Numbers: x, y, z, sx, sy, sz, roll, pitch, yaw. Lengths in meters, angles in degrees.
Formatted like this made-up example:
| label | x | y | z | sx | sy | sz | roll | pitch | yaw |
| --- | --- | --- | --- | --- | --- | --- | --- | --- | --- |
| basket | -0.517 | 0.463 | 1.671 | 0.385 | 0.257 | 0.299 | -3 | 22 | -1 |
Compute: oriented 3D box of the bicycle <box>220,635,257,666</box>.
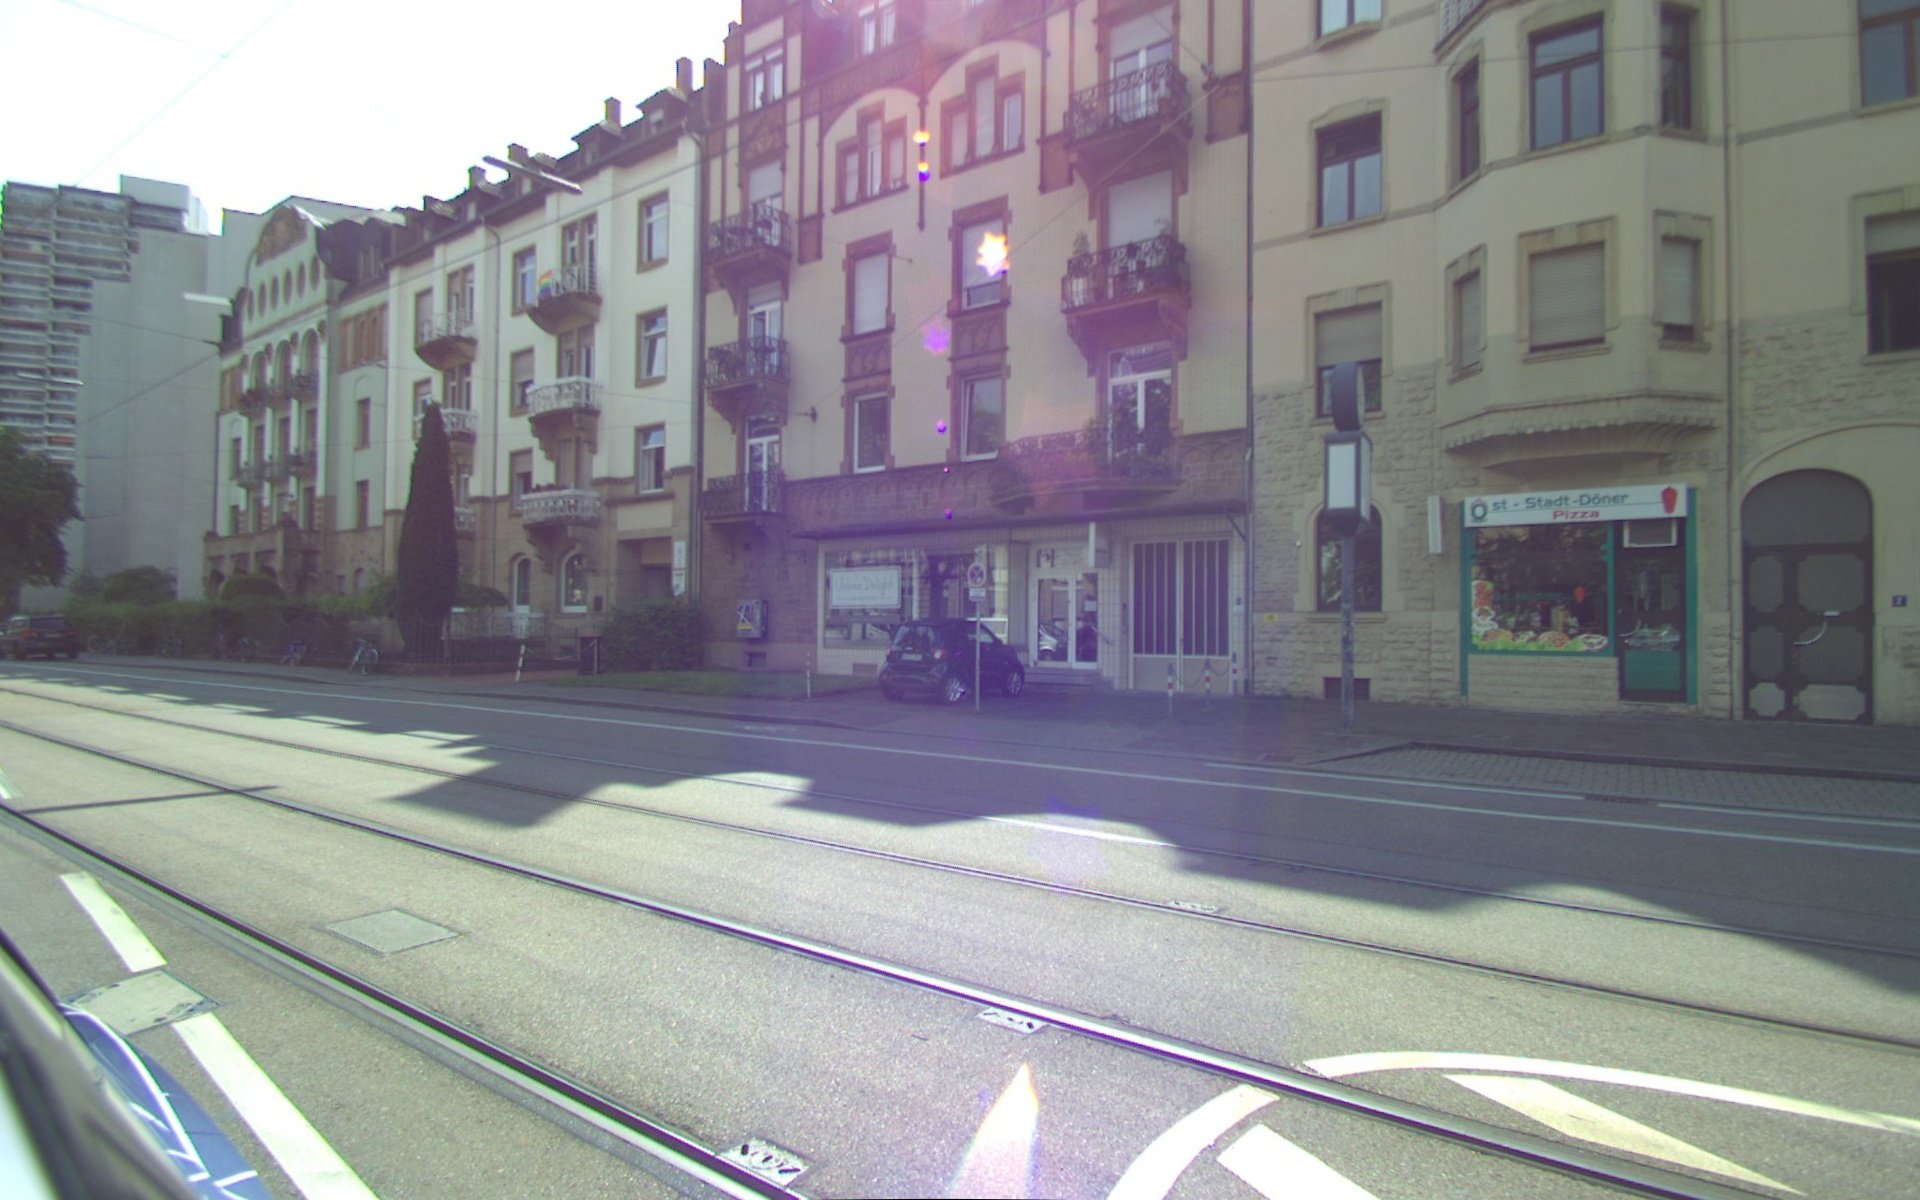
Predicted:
| label | x | y | z | sx | sy | sz | roll | pitch | yaw |
| --- | --- | --- | --- | --- | --- | --- | --- | --- | --- |
| bicycle | -24.214 | 1.675 | 33.937 | 1.872 | 0.993 | 0.579 | 0 | -2 | 42 |

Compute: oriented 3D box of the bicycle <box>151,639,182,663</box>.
| label | x | y | z | sx | sy | sz | roll | pitch | yaw |
| --- | --- | --- | --- | --- | --- | --- | --- | --- | --- |
| bicycle | -29.321 | 1.872 | 37.392 | 1.872 | 0.803 | 0.579 | 0 | 1 | 42 |

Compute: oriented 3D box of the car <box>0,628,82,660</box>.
| label | x | y | z | sx | sy | sz | roll | pitch | yaw |
| --- | --- | --- | --- | --- | --- | --- | --- | --- | --- |
| car | -47.215 | 2.218 | 51.279 | 1.633 | 1.547 | 3.842 | -1 | -3 | 38 |

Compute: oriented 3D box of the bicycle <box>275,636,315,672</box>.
| label | x | y | z | sx | sy | sz | roll | pitch | yaw |
| --- | --- | --- | --- | --- | --- | --- | --- | --- | --- |
| bicycle | -20.555 | 1.640 | 31.260 | 1.872 | 1.037 | 0.532 | 0 | -2 | 42 |

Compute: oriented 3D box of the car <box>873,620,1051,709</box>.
| label | x | y | z | sx | sy | sz | roll | pitch | yaw |
| --- | --- | --- | --- | --- | --- | --- | --- | --- | --- |
| car | 0.111 | 1.177 | 19.673 | 1.704 | 1.497 | 3.411 | -1 | 0 | 38 |

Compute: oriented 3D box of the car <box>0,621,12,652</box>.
| label | x | y | z | sx | sy | sz | roll | pitch | yaw |
| --- | --- | --- | --- | --- | --- | --- | --- | --- | --- |
| car | -60.119 | 2.194 | 61.131 | 1.829 | 1.940 | 3.947 | -1 | -3 | 39 |

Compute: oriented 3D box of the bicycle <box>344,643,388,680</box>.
| label | x | y | z | sx | sy | sz | roll | pitch | yaw |
| --- | --- | --- | --- | --- | --- | --- | --- | --- | --- |
| bicycle | -16.467 | 1.689 | 28.028 | 2.068 | 0.913 | 0.517 | 1 | -1 | 45 |

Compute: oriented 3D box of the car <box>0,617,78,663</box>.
| label | x | y | z | sx | sy | sz | roll | pitch | yaw |
| --- | --- | --- | --- | --- | --- | --- | --- | --- | --- |
| car | -36.235 | 1.552 | 39.513 | 4.323 | 1.724 | 1.775 | -1 | -3 | 36 |
